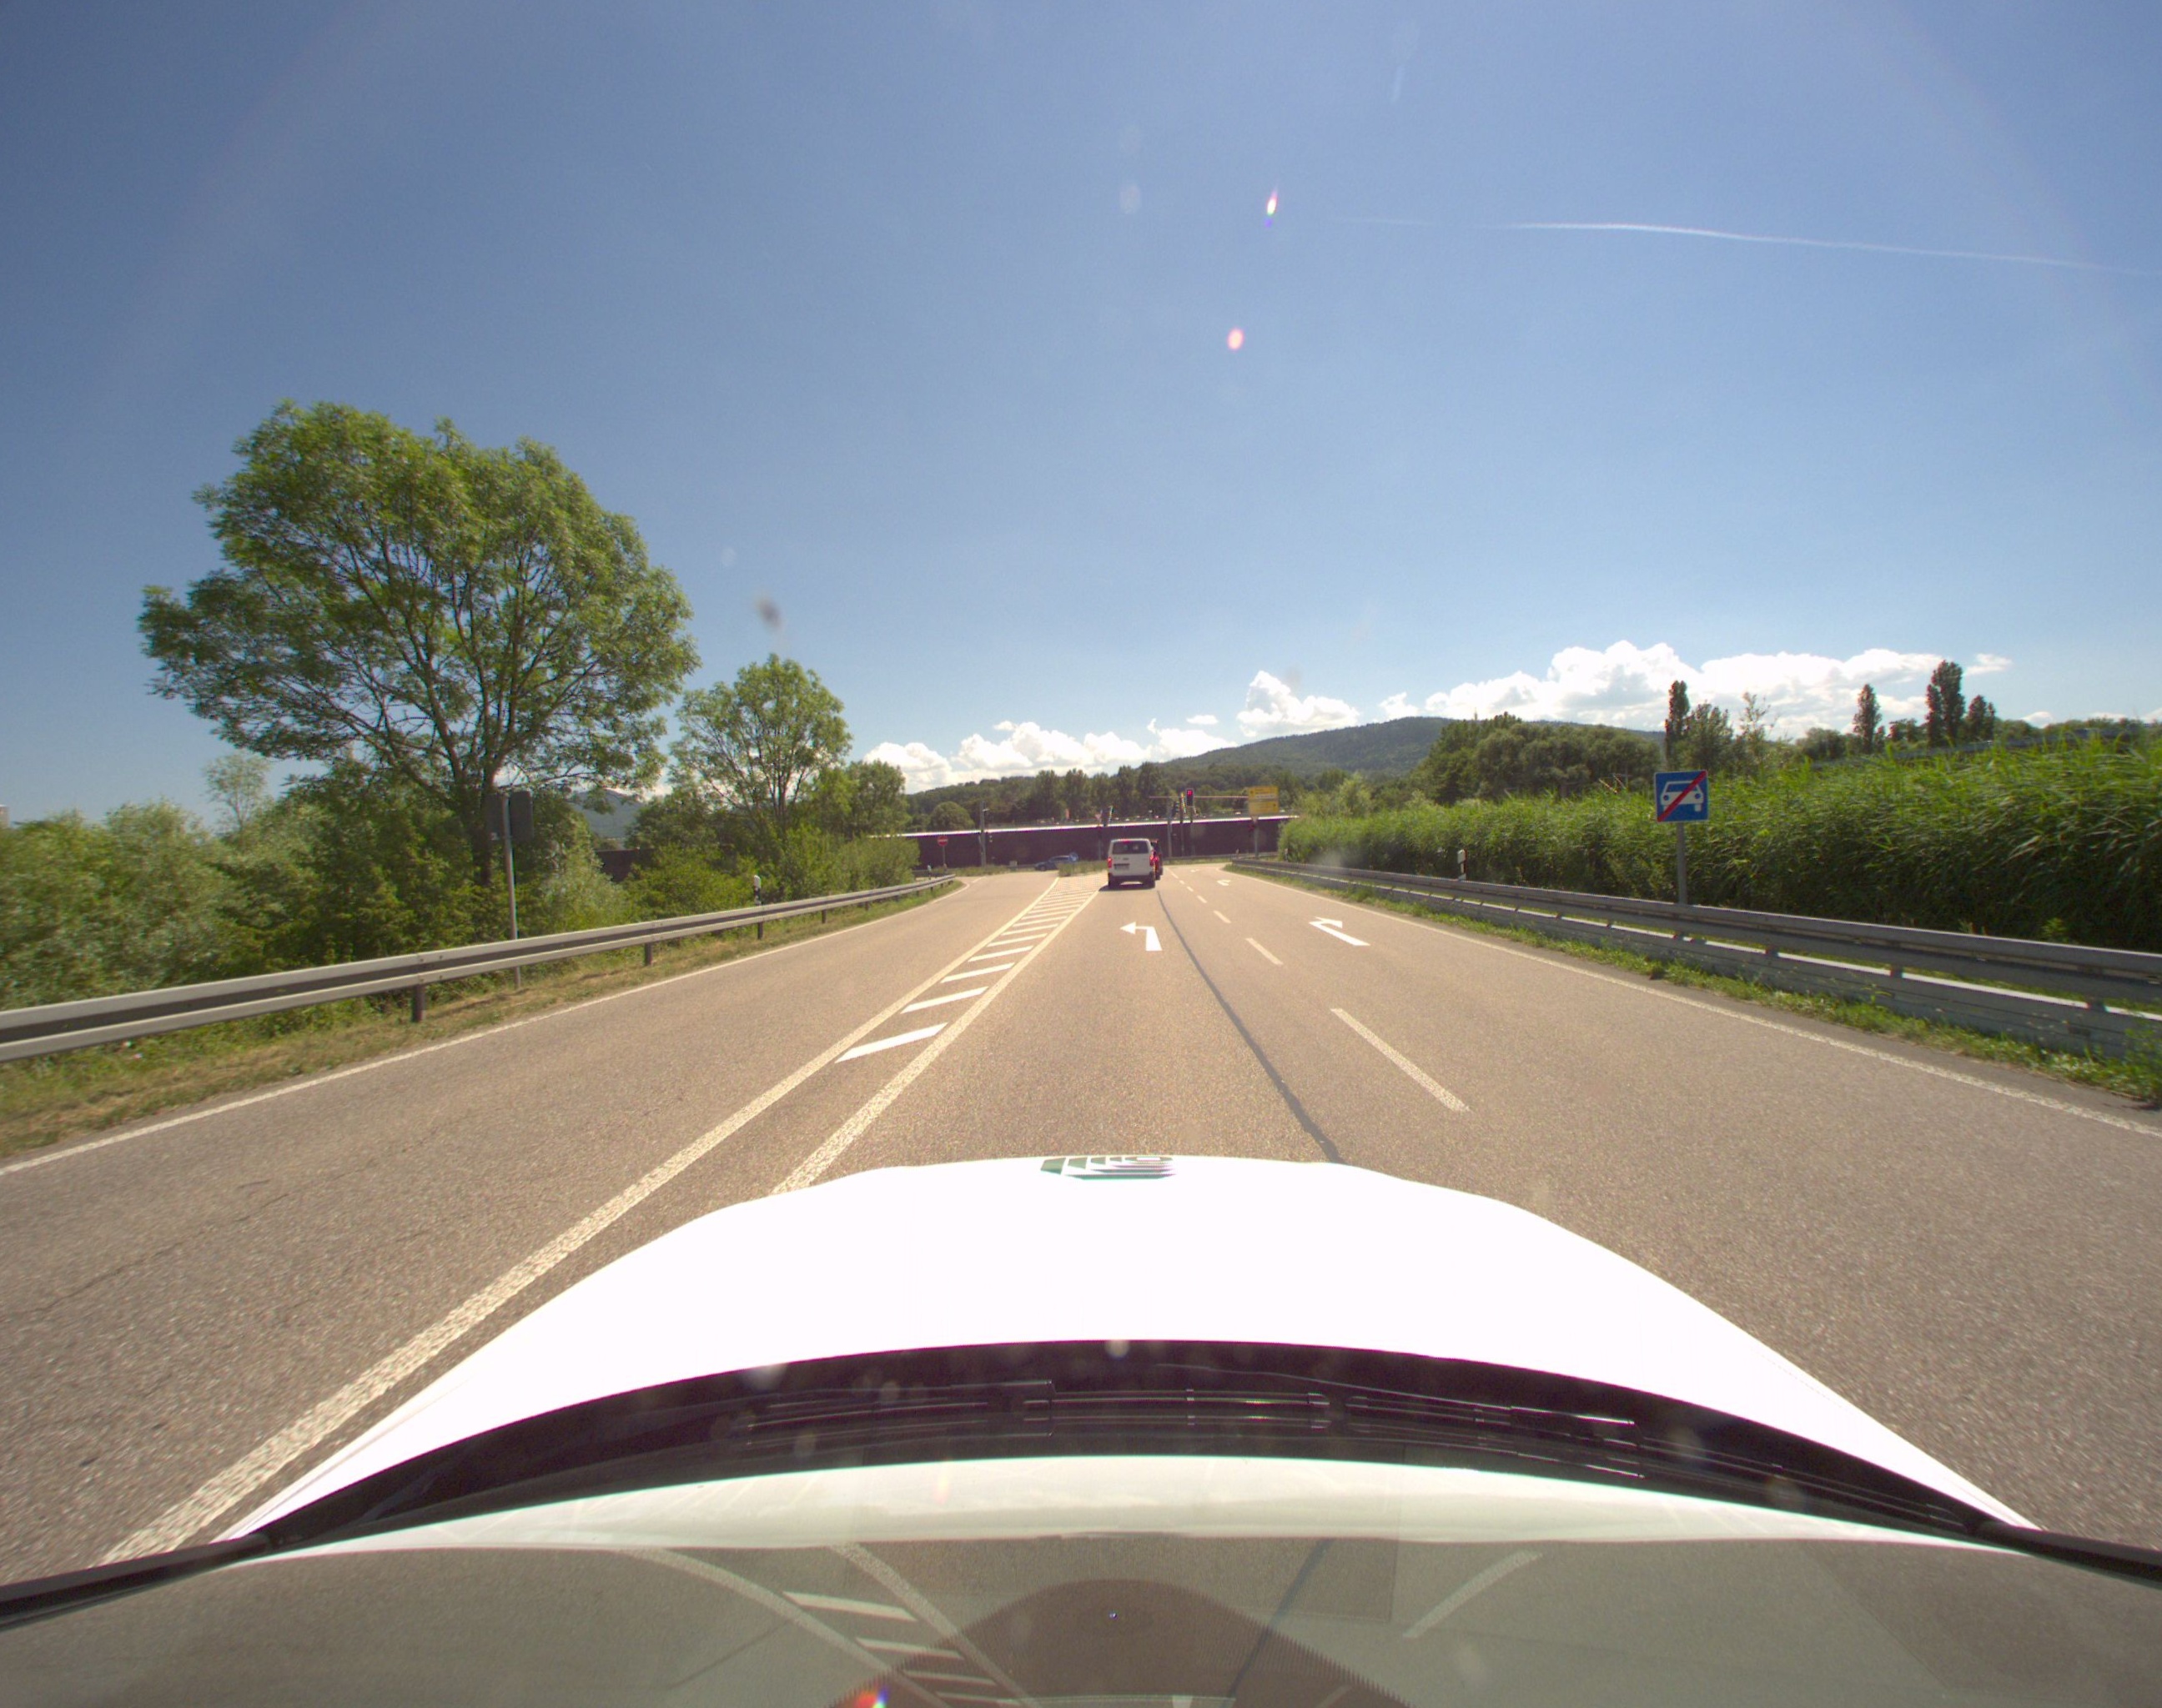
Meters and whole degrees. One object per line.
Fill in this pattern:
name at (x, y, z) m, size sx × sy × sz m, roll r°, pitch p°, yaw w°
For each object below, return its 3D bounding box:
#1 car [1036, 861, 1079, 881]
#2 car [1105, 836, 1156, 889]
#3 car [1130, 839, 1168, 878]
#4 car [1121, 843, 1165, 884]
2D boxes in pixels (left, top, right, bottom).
car at (-2.279, 1.649, 80.431) m, size 3.970 × 1.769 × 2.002 m, roll -2°, pitch 0°, yaw 3°
car at (2.020, 0.316, 32.879) m, size 1.862 × 1.964 × 4.004 m, roll -2°, pitch 0°, yaw 4°
car at (3.983, 0.246, 47.622) m, size 1.984 × 2.013 × 4.005 m, roll -4°, pitch 0°, yaw 4°
car at (3.105, 0.461, 40.598) m, size 1.984 × 1.812 × 4.005 m, roll -4°, pitch 0°, yaw 4°
